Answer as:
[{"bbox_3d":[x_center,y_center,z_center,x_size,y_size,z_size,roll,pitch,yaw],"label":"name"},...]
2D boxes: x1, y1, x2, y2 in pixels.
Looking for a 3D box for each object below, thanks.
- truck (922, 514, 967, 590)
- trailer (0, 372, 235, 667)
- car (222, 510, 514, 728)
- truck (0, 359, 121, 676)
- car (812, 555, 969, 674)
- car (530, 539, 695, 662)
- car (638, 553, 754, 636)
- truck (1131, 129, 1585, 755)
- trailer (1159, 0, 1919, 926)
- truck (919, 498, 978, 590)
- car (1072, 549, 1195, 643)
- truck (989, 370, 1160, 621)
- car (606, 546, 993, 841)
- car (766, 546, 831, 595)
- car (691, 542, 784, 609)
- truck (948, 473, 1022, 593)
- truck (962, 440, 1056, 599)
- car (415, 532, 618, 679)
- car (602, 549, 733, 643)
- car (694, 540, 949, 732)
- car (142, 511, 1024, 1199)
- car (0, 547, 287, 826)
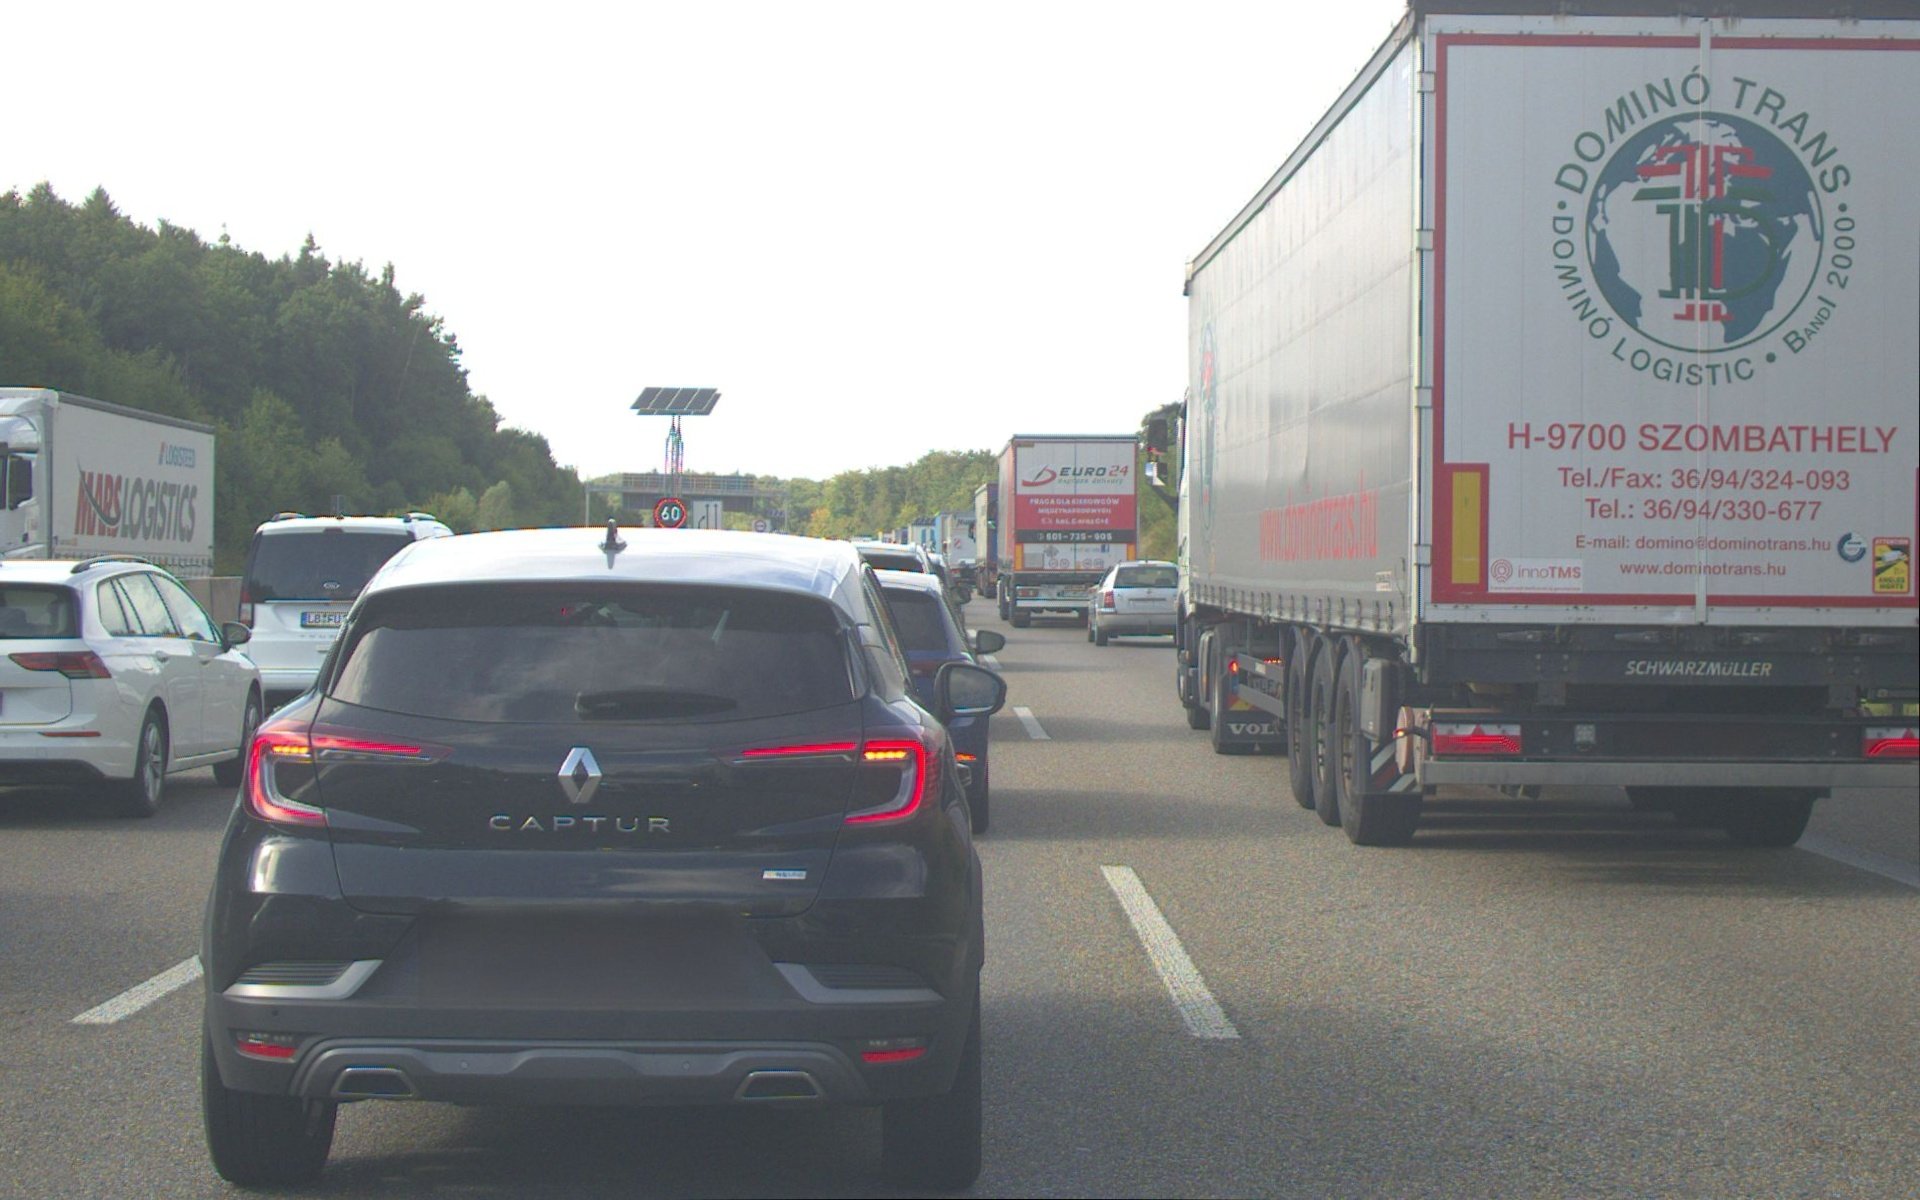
[{"bbox_3d":[-1.122,-3.559,257.765,3.166,5.486,12.737,1,0,0],"label":"truck"},{"bbox_3d":[-16.890,-1.446,66.251,3.088,5.056,13.836,1,0,-1],"label":"trailer"},{"bbox_3d":[-5.200,0.141,30.737,1.911,1.783,4.418,1,0,-1],"label":"car"},{"bbox_3d":[-16.765,-1.371,58.838,3.088,5.083,7.142,1,0,-1],"label":"truck"},{"bbox_3d":[-0.892,0.176,46.346,1.993,1.509,4.000,1,0,0],"label":"car"},{"bbox_3d":[-5.097,-0.008,50.880,1.993,1.716,4.000,1,0,0],"label":"car"},{"bbox_3d":[-5.313,-0.126,69.566,1.993,1.607,4.000,1,0,0],"label":"car"},{"bbox_3d":[3.121,-1.222,28.667,2.997,4.651,5.940,1,1,-1],"label":"truck"},{"bbox_3d":[3.196,-1.088,20.818,3.002,4.645,13.291,1,1,-1],"label":"trailer"},{"bbox_3d":[-0.606,-3.193,199.709,3.166,5.142,12.737,1,0,0],"label":"truck"},{"bbox_3d":[2.935,-0.076,58.897,1.804,1.527,3.926,1,0,-1],"label":"car"},{"bbox_3d":[2.370,-2.157,75.894,3.365,5.027,12.737,1,0,0],"label":"truck"},{"bbox_3d":[-0.828,0.475,19.909,1.993,1.509,4.000,1,0,0],"label":"car"},{"bbox_3d":[-5.455,-1.004,116.358,1.993,1.607,4.000,1,1,0],"label":"car"},{"bbox_3d":[-5.479,-0.624,85.024,1.993,1.607,4.000,1,1,0],"label":"car"},{"bbox_3d":[1.267,-3.142,165.883,3.167,5.486,12.736,1,0,2],"label":"truck"},{"bbox_3d":[1.764,-2.831,126.091,3.166,5.486,12.737,1,0,0],"label":"truck"},{"bbox_3d":[-5.228,0.052,40.970,1.855,1.635,3.925,1,0,1],"label":"car"},{"bbox_3d":[-5.238,-0.079,62.030,1.993,1.607,4.000,1,0,0],"label":"car"},{"bbox_3d":[-1.117,0.276,29.504,1.993,1.509,4.000,1,0,0],"label":"car"},{"bbox_3d":[-0.768,0.566,9.293,1.805,1.547,4.000,0,1,2],"label":"car"},{"bbox_3d":[-5.305,0.432,20.172,1.804,1.456,4.308,0,0,1],"label":"car"}]
